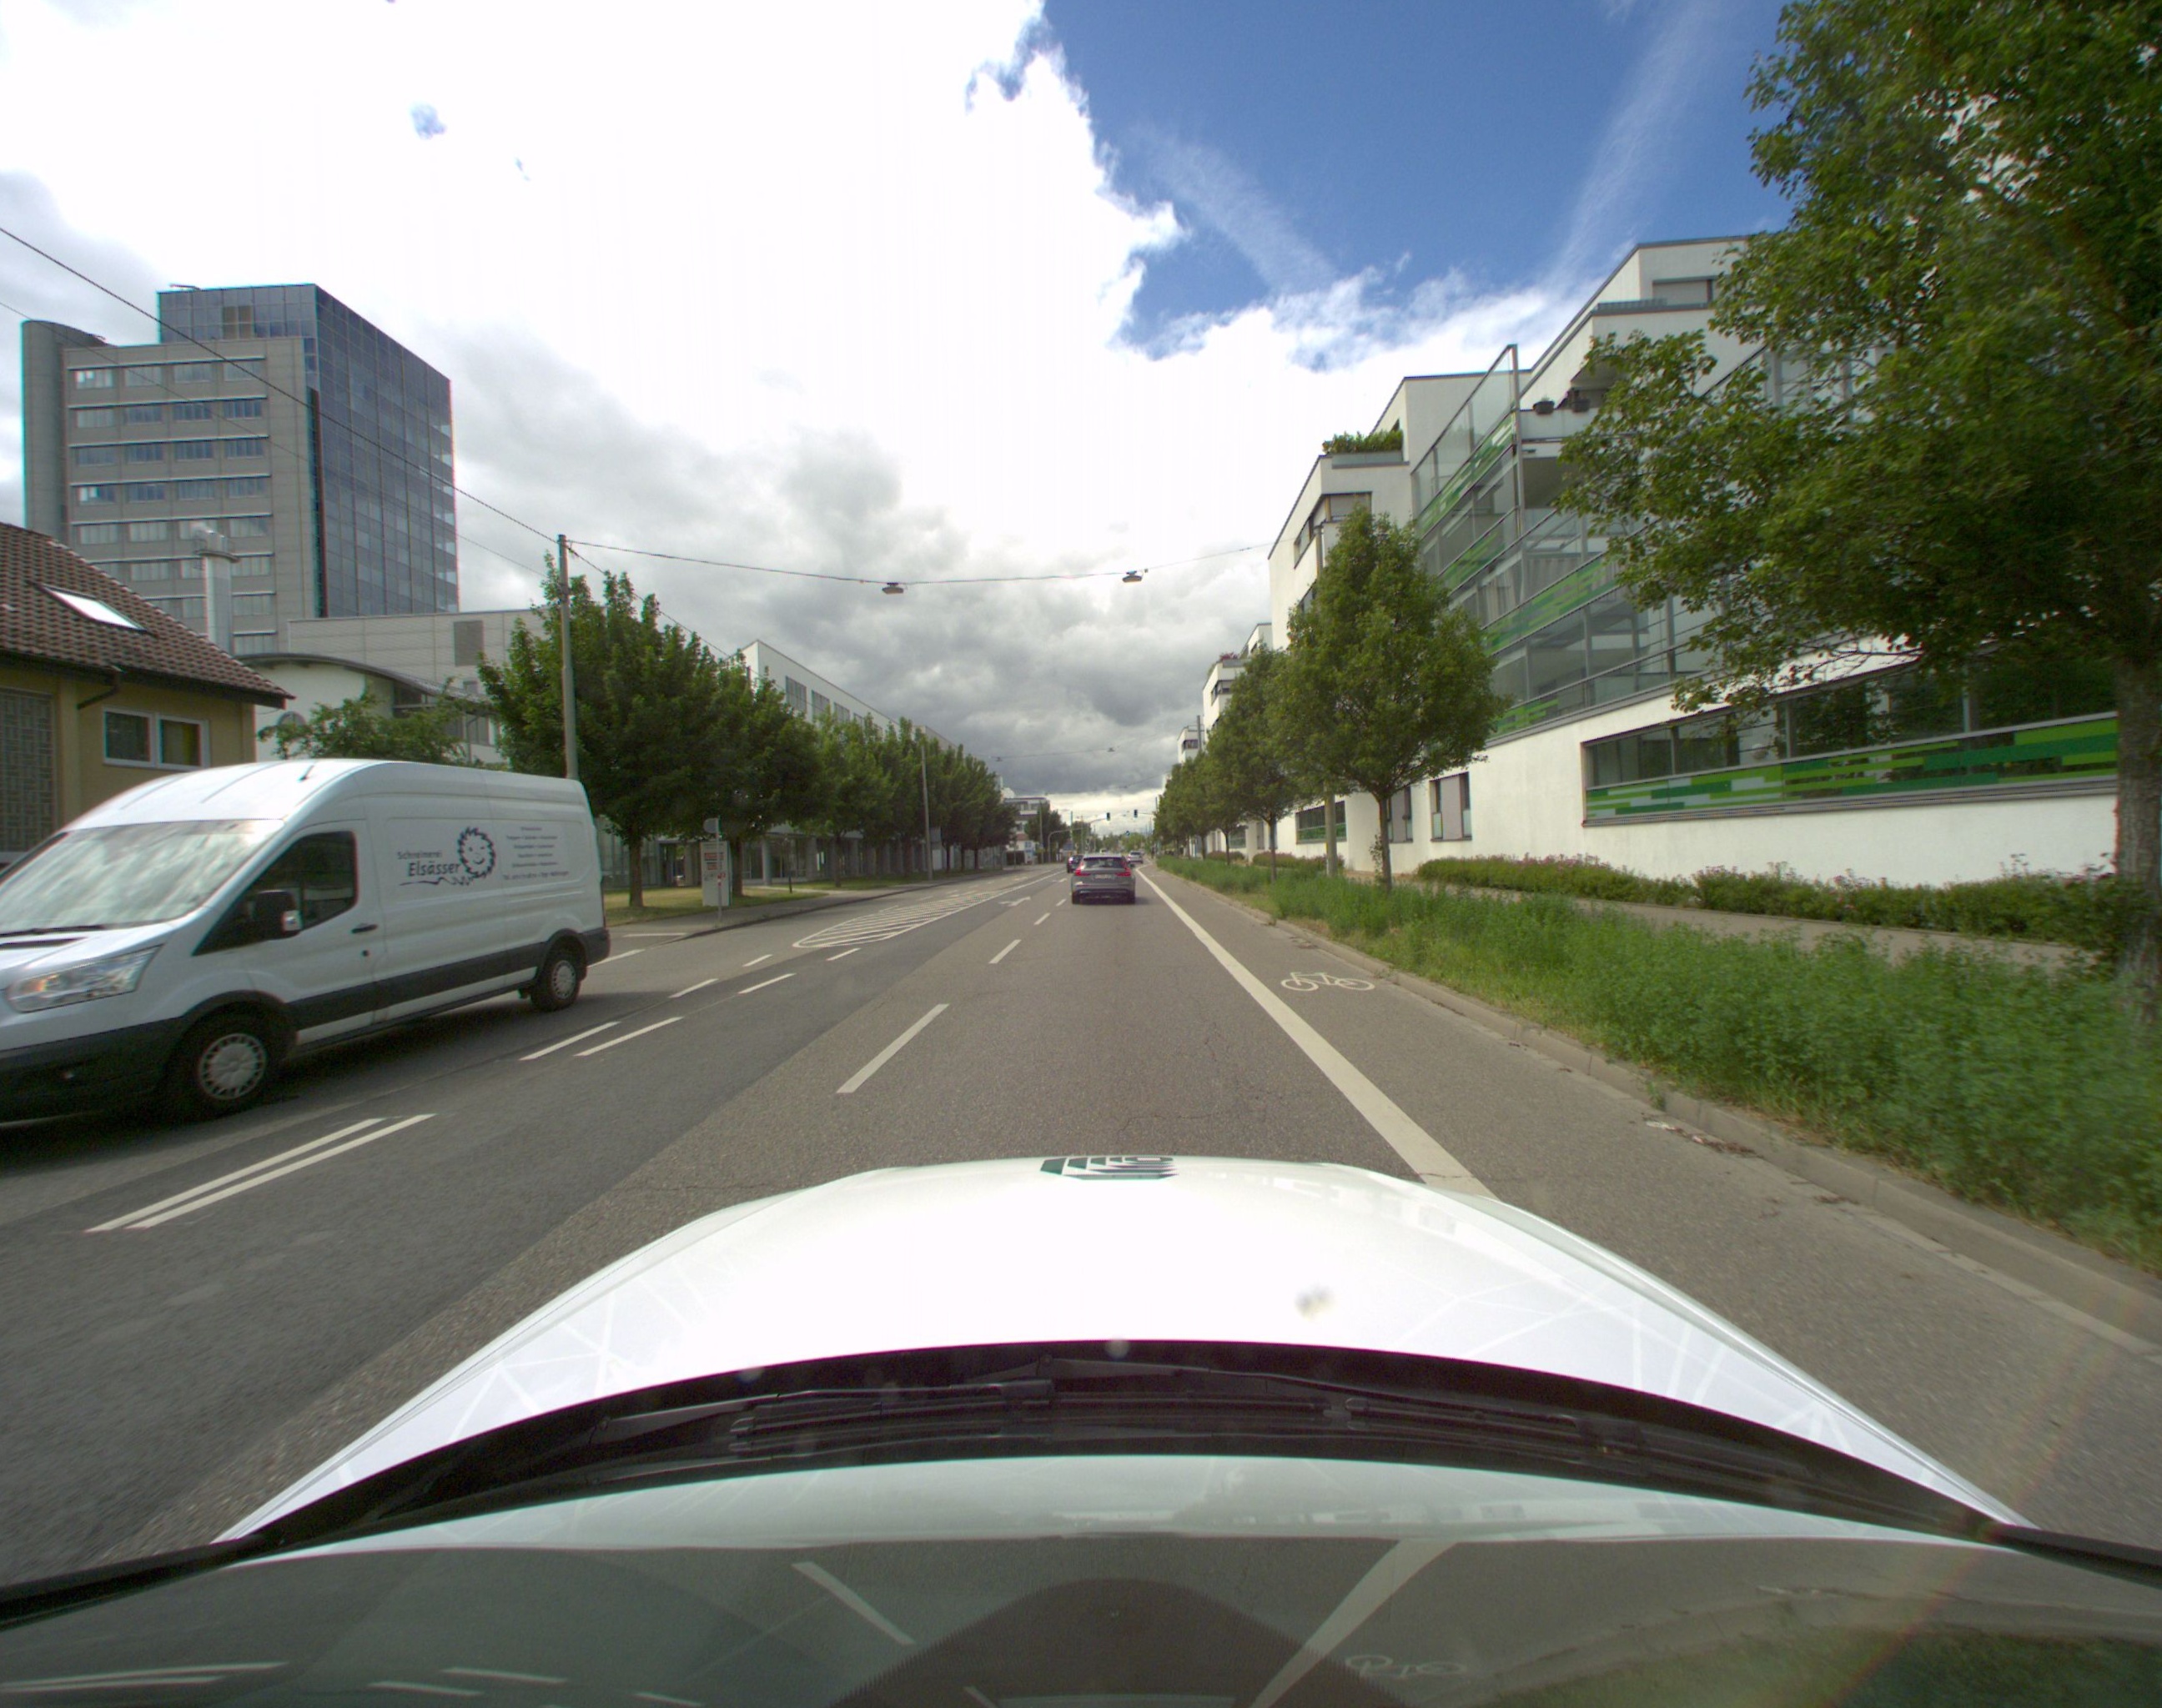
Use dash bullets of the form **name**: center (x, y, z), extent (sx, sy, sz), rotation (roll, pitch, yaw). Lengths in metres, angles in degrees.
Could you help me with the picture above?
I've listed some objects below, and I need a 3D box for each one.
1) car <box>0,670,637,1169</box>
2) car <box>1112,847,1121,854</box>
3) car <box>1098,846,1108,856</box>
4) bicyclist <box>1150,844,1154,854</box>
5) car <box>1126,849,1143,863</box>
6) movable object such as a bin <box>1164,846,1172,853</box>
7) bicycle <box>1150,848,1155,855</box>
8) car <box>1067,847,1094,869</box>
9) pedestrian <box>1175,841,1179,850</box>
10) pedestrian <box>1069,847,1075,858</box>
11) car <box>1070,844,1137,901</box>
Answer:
- **car**: center (-6.932, 0.419, 7.671), extent (2.138, 2.819, 6.142), rotation (-4, 0, -2)
- **car**: center (9.213, -0.908, 209.261), extent (1.875, 1.552, 4.548), rotation (-4, -1, 6)
- **car**: center (5.694, -0.878, 213.978), extent (2.132, 2.471, 6.081), rotation (-4, 0, 5)
- **bicyclist**: center (12.478, -0.915, 142.957), extent (0.635, 1.675, 0.891), rotation (-6, 0, 4)
- **car**: center (6.386, 0.237, 96.929), extent (1.985, 1.695, 4.003), rotation (0, -1, 3)
- **movable object such as a bin**: center (18.022, -0.910, 168.031), extent (1.308, 1.361, 1.257), rotation (-3, -1, 20)
- **bicycle**: center (12.523, -0.466, 142.948), extent (0.635, 1.063, 1.980), rotation (-6, 0, 4)
- **car**: center (-0.016, 0.332, 64.791), extent (1.986, 1.717, 4.001), rotation (0, -1, 2)
- **pedestrian**: center (19.595, -1.714, 166.154), extent (0.503, 1.765, 0.503), rotation (-1, -1, 20)
- **pedestrian**: center (-1.669, -0.320, 149.193), extent (0.815, 2.014, 0.717), rotation (0, -1, -44)
- **car**: center (0.694, 0.533, 24.769), extent (1.888, 1.554, 4.001), rotation (0, -1, 2)
